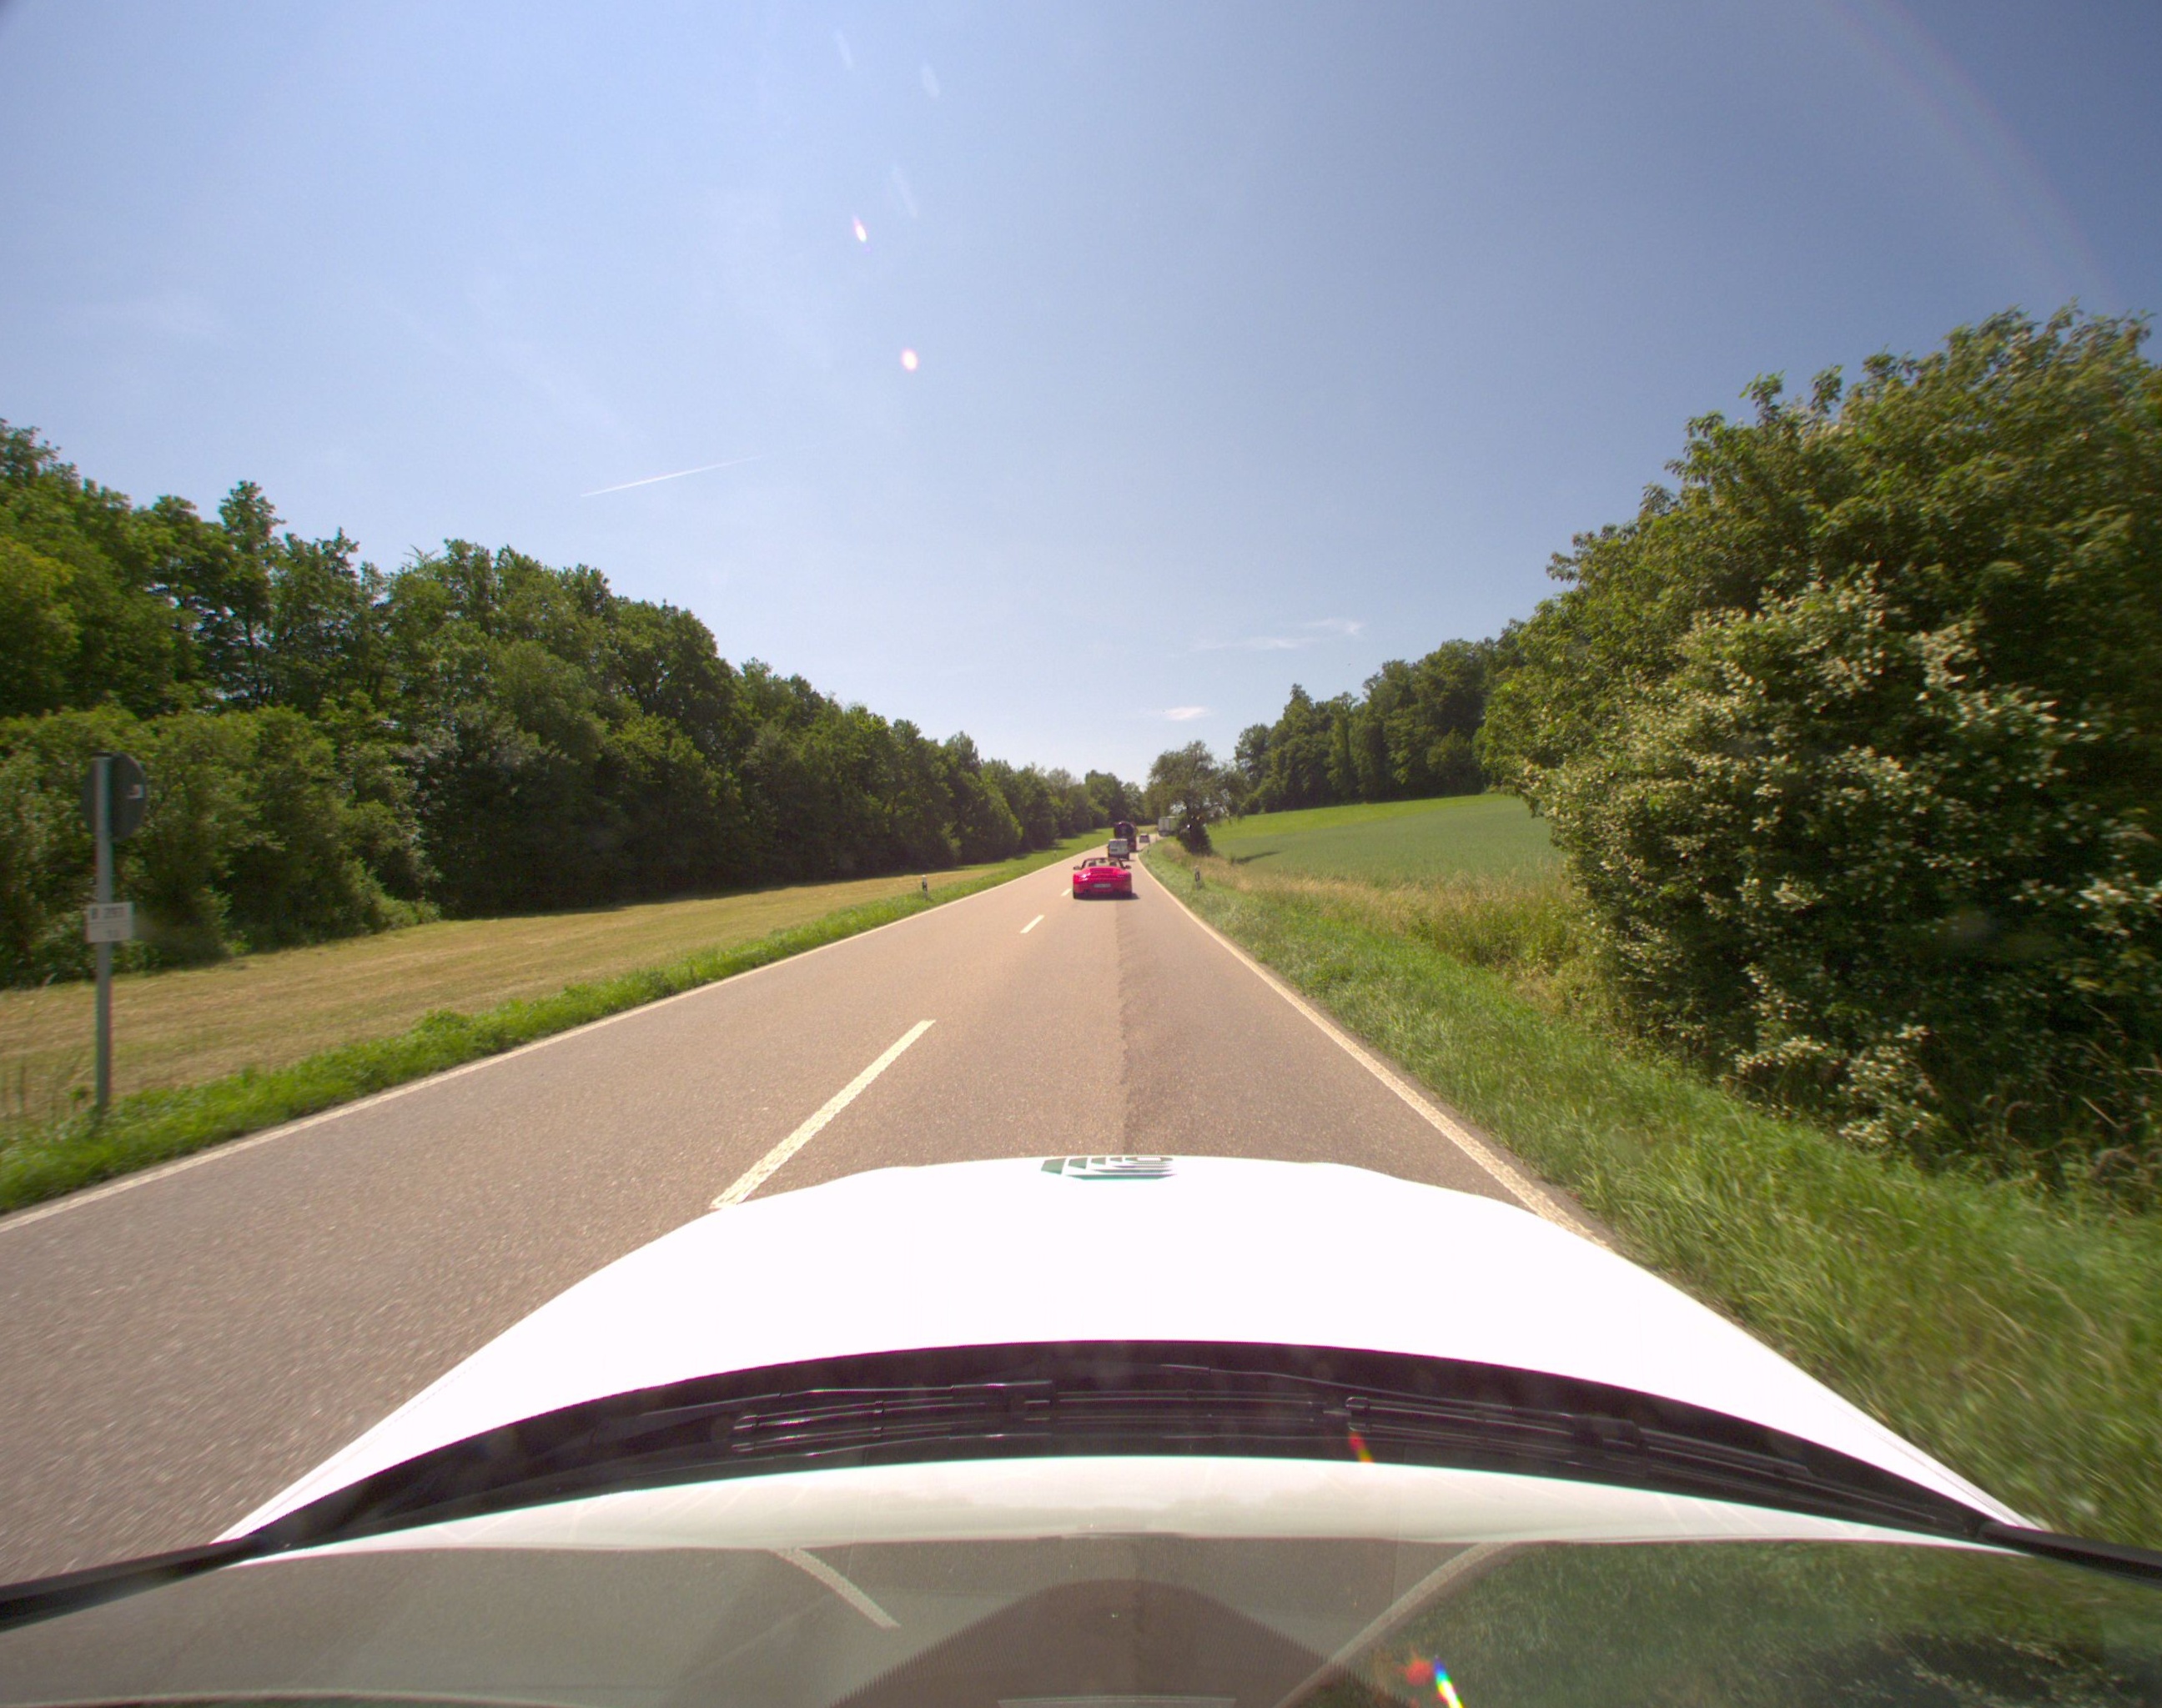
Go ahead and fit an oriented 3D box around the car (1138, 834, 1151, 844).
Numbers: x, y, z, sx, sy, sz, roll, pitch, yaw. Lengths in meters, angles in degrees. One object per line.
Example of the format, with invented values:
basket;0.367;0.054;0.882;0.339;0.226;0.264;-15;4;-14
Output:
car;11.353;-2.708;145.856;1.818;1.513;4.206;-1;3;12

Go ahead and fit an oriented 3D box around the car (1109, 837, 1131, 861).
car;3.444;-0.449;71.059;1.670;1.900;4.017;-1;2;6

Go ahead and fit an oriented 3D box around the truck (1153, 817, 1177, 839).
truck;18.560;-5.813;179.694;3.699;4.659;12.077;-1;3;13

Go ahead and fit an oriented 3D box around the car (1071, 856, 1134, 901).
car;0.734;0.746;26.594;1.875;1.255;4.012;-1;1;2

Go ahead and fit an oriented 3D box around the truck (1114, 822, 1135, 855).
truck;5.661;-1.999;106.946;2.395;4.049;12.555;-1;1;2
